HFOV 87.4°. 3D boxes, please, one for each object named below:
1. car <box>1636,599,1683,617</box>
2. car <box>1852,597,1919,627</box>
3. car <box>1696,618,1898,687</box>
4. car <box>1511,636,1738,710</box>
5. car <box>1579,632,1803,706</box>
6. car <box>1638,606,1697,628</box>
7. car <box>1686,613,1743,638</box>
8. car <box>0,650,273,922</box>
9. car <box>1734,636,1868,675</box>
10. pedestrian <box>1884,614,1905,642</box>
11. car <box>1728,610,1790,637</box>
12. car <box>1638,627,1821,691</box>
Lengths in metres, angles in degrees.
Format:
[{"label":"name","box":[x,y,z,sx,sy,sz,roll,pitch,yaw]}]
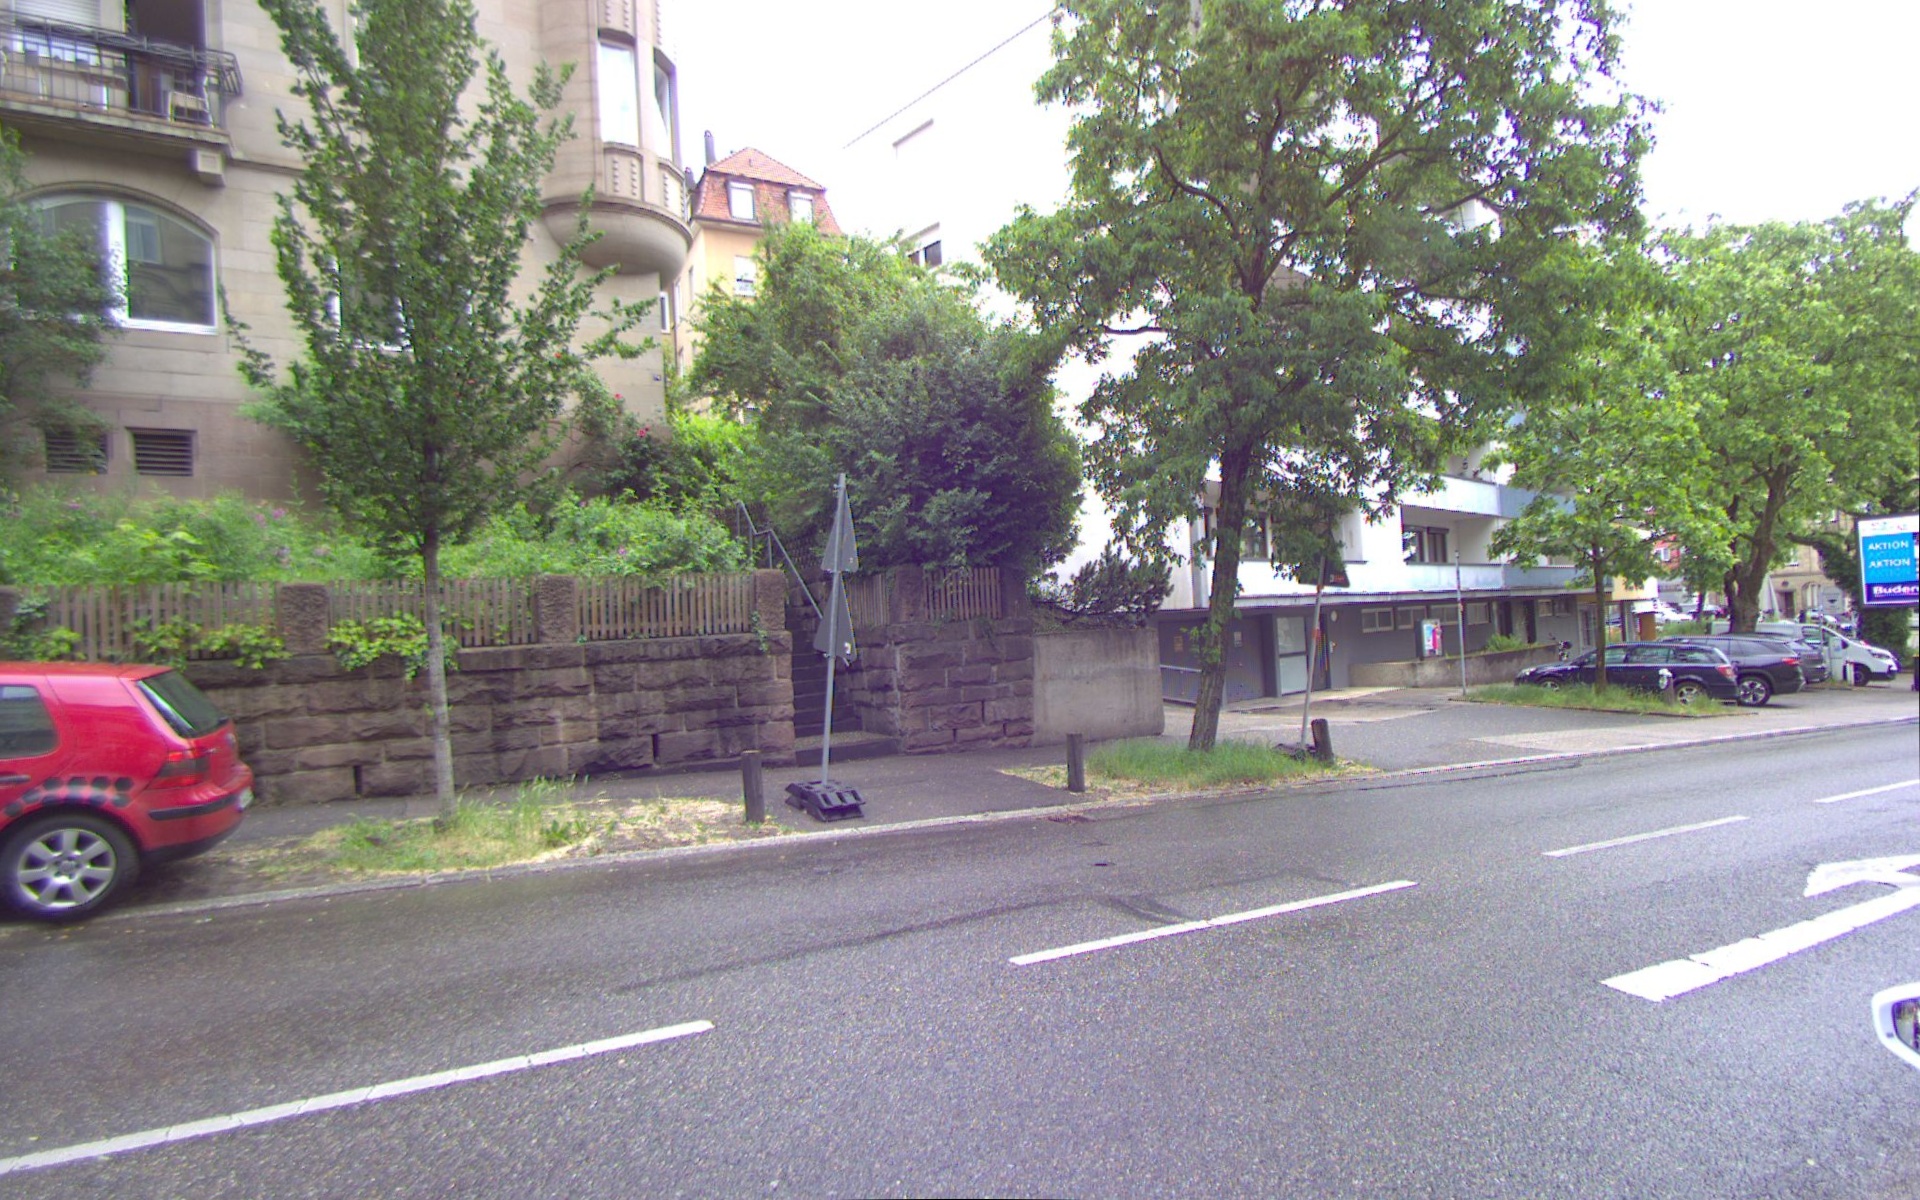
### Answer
[{"label":"car","box":[68.661,0.770,98.656,1.694,1.711,3.999,2,0,-2]},{"label":"car","box":[69.401,0.884,74.846,1.961,2.130,4.291,-1,1,-1]},{"label":"car","box":[27.733,1.715,33.497,5.000,2.132,1.983,-2,-3,40]},{"label":"car","box":[15.659,1.702,23.790,4.303,1.594,1.935,-3,-4,38]},{"label":"car","box":[18.069,1.697,25.004,4.312,1.694,1.848,-3,-4,38]},{"label":"car","box":[60.510,1.482,85.951,1.961,1.749,4.249,-2,-1,-1]},{"label":"car","box":[69.231,2.286,92.256,1.961,2.130,4.291,-1,1,-1]},{"label":"car","box":[-6.518,1.058,5.832,4.015,1.470,1.606,1,-2,-30]},{"label":"car","box":[32.812,2.133,39.332,3.925,1.469,1.761,-2,-3,40]},{"label":"pedestrian","box":[55.398,1.643,59.522,0.708,1.597,0.536,-1,-4,-19]},{"label":"car","box":[69.300,2.002,87.173,1.961,2.130,4.291,-1,1,-1]},{"label":"car","box":[23.366,1.754,30.635,4.305,1.807,1.931,-2,-3,40]}]
